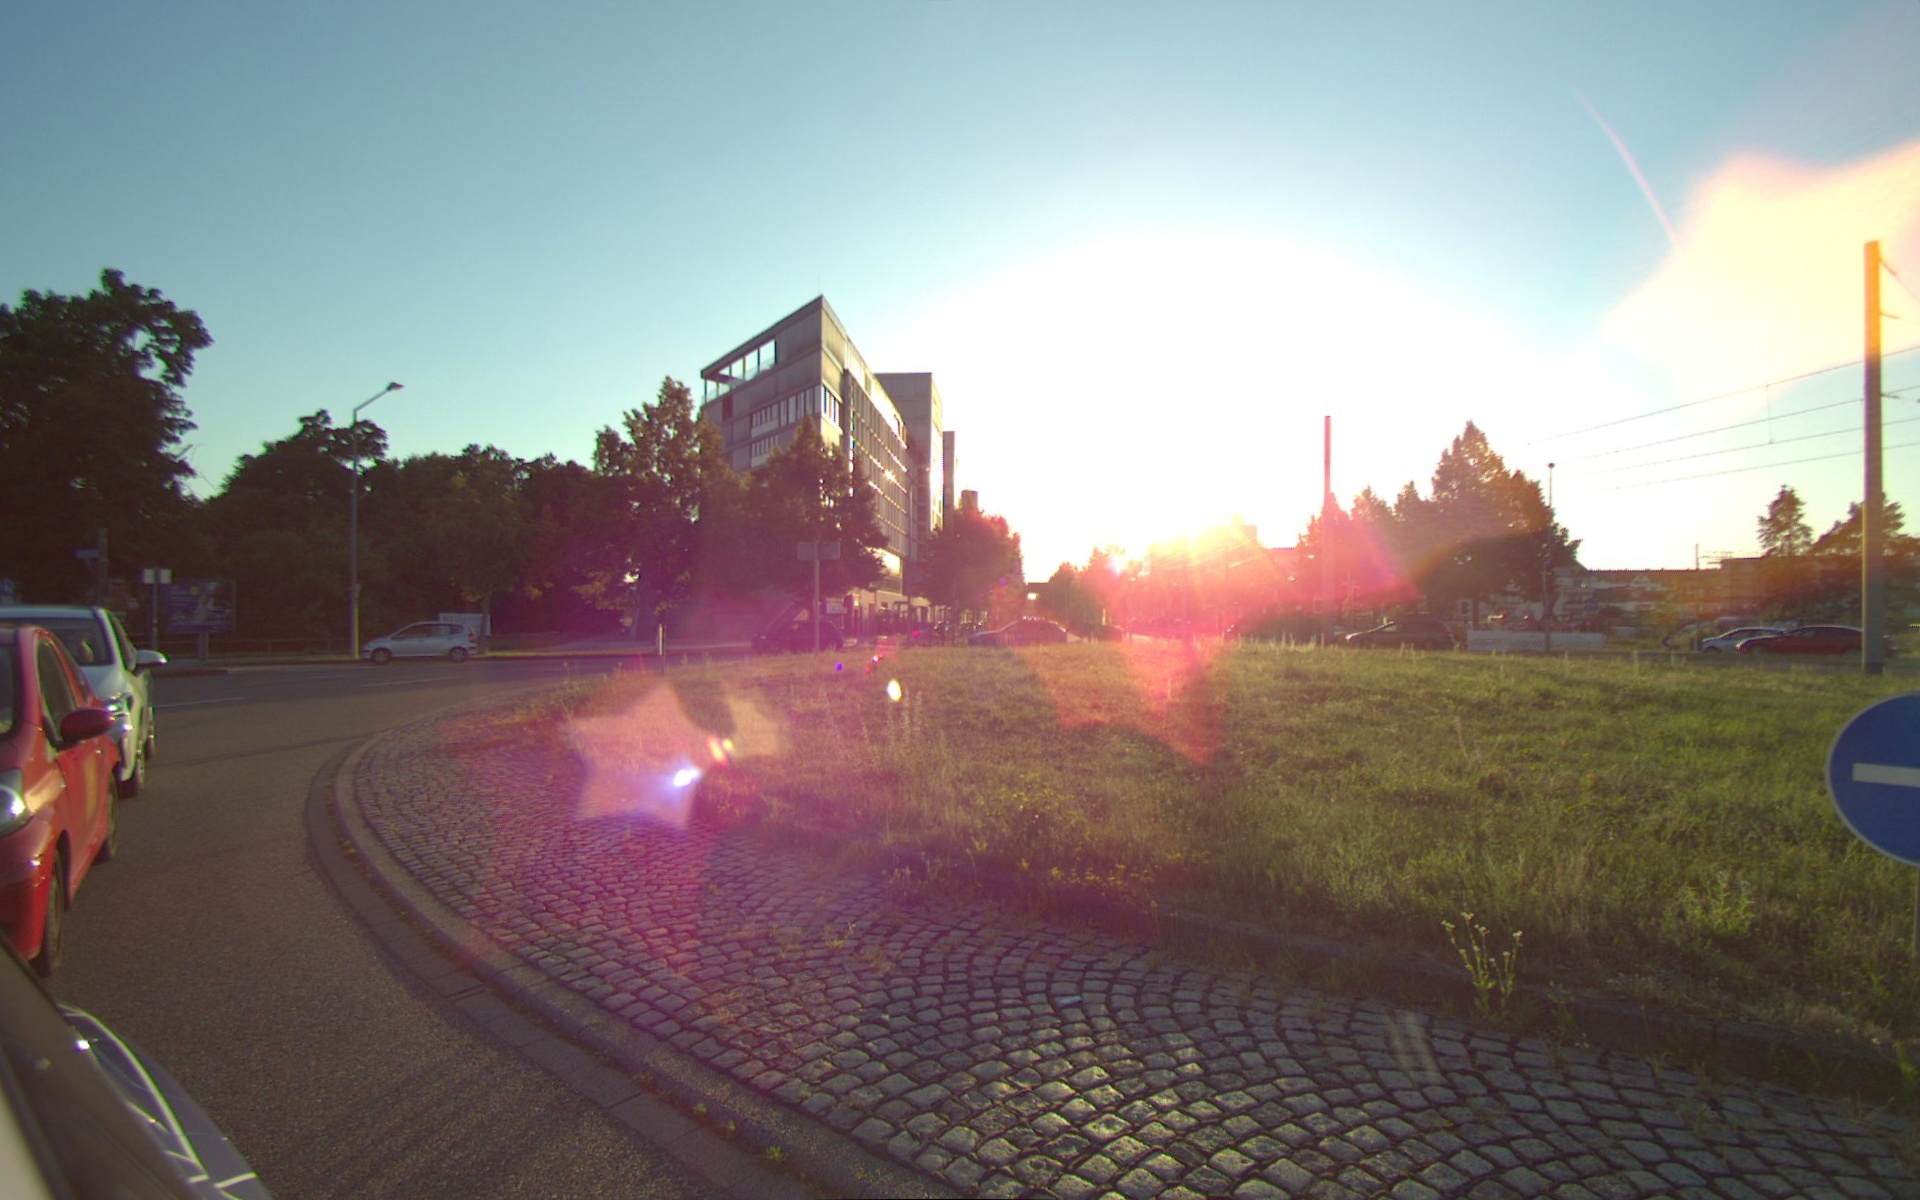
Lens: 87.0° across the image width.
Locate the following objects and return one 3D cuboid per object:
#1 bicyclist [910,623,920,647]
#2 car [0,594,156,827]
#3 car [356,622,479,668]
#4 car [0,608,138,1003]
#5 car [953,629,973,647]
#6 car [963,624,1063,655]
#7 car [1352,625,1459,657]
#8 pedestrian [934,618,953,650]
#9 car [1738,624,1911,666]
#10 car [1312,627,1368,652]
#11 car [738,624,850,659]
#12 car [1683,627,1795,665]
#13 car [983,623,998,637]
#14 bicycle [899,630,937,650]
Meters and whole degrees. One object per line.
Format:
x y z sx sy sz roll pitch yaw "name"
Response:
-2.799 2.196 63.458 0.603 1.451 0.692 0 -1 -1 "bicyclist"
-8.186 0.795 8.514 1.969 1.618 4.203 1 -1 -42 "car"
-19.644 1.592 36.830 3.825 1.592 1.961 0 -1 -25 "car"
-5.233 0.764 4.894 1.662 1.431 4.010 1 -1 -35 "car"
0.322 4.257 113.709 1.975 2.029 3.994 0 -1 5 "car"
2.437 1.832 47.015 4.282 1.386 2.004 0 -1 -8 "car"
20.257 1.852 46.152 4.357 1.386 1.984 -1 -1 24 "car"
-1.054 2.152 65.071 0.995 2.029 0.768 -1 0 30 "pedestrian"
31.592 1.609 37.121 1.864 1.402 4.508 1 -1 -36 "car"
25.557 2.619 68.260 1.971 1.591 4.487 0 -1 -2 "car"
-7.061 1.738 43.184 4.309 1.386 2.006 0 -1 -29 "car"
35.674 2.063 46.398 3.997 1.634 1.973 -1 -1 40 "car"
4.360 4.228 142.951 1.875 1.831 3.994 0 -1 5 "car"
-2.620 2.521 63.435 2.315 1.254 0.742 0 -1 1 "bicycle"
